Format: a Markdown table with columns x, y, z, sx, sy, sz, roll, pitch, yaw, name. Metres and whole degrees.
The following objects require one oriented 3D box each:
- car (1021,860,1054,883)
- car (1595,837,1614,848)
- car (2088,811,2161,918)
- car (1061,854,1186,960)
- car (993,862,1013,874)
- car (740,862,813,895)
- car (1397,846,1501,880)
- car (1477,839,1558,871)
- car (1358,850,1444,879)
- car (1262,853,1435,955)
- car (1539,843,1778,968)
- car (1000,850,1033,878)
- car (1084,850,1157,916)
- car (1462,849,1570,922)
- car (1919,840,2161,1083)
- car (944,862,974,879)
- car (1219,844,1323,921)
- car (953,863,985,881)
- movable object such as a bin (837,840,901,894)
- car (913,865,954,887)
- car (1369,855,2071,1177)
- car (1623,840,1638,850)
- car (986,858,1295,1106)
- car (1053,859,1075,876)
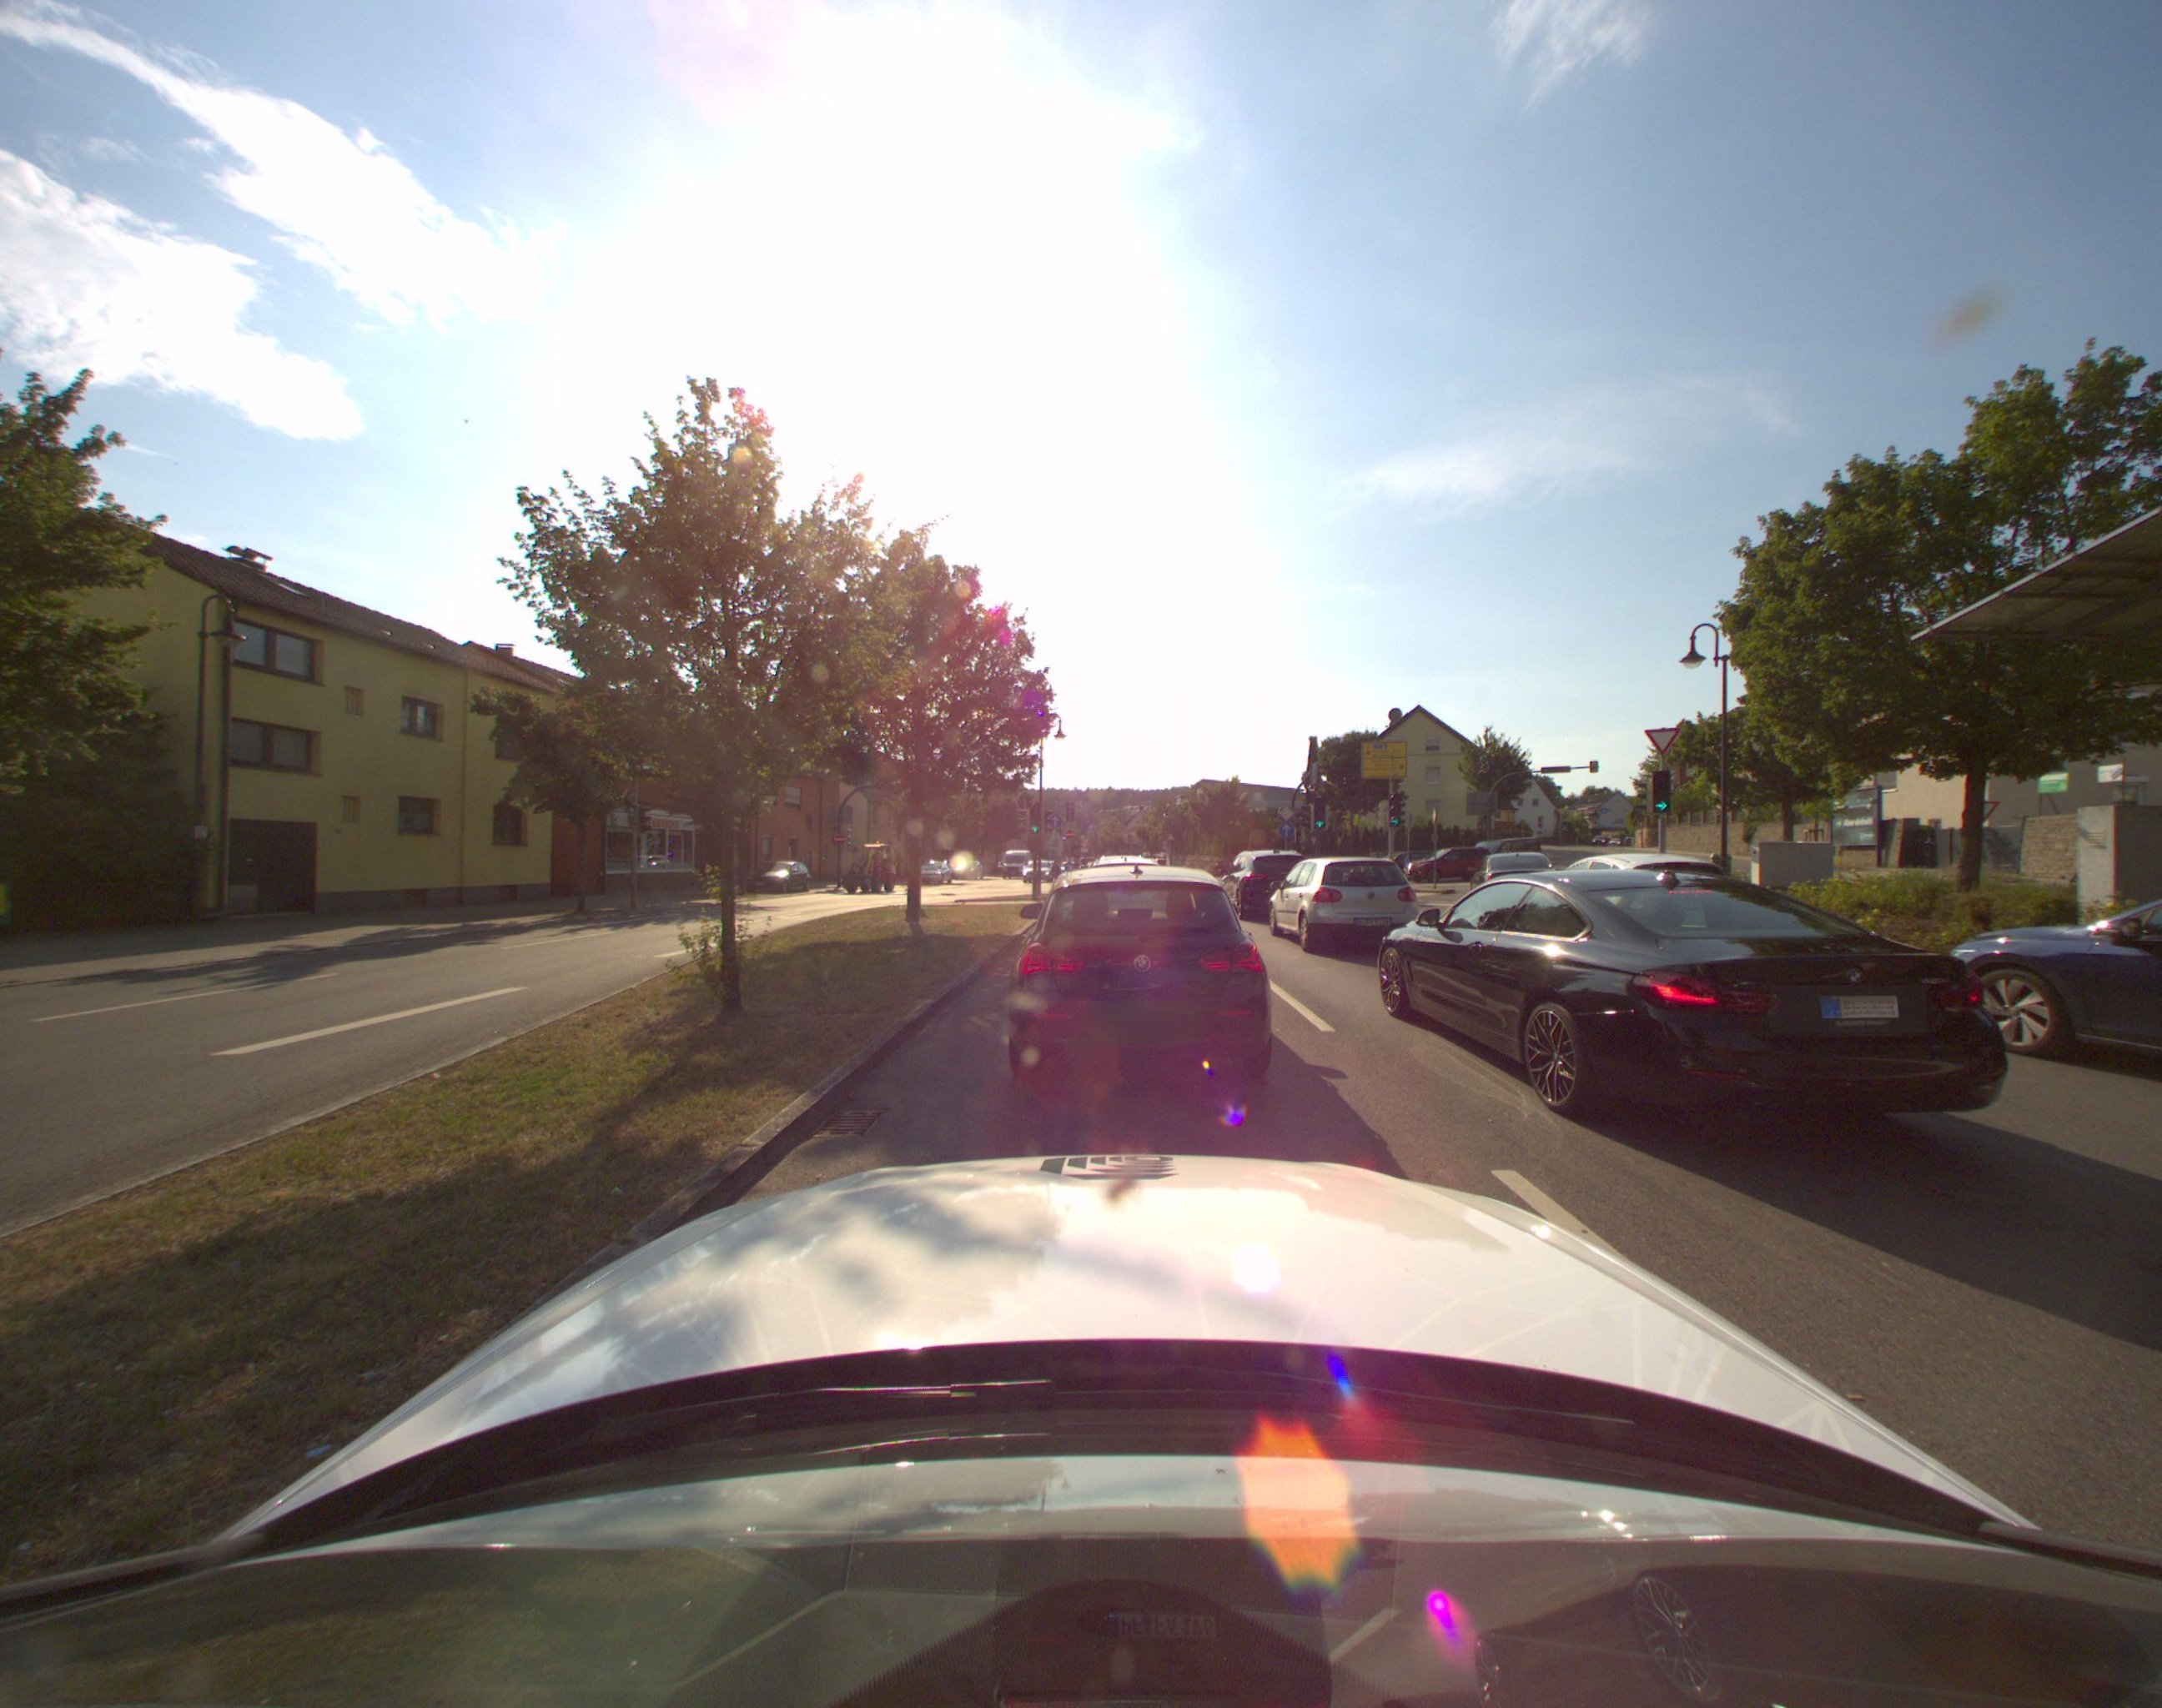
| x | y | z | sx | sy | sz | roll | pitch | yaw | name |
| --- | --- | --- | --- | --- | --- | --- | --- | --- | --- |
| -2.944 | 1.153 | 55.724 | 1.832 | 1.482 | 4.002 | -1 | 0 | 2 | car |
| 85.343 | -1.836 | 132.736 | 1.946 | 1.680 | 4.241 | -2 | 0 | 41 | car |
| 18.496 | 0.150 | 12.370 | 3.793 | 1.632 | 1.784 | 0 | 0 | 10 | car |
| 0.722 | 0.776 | 14.098 | 1.781 | 1.494 | 4.283 | -2 | 0 | 2 | car |
| -9.335 | 1.653 | 97.556 | 1.729 | 1.301 | 3.804 | 4 | 0 | 5 | car |
| -14.133 | 1.114 | 38.020 | 1.730 | 1.301 | 4.002 | 4 | 0 | 2 | car |
| 18.355 | 0.450 | 40.722 | 4.410 | 1.641 | 1.845 | 0 | 0 | -6 | car |
| 25.078 | 0.042 | 46.730 | 4.798 | 1.739 | 1.831 | 0 | 0 | -30 | car |
| 17.352 | 0.563 | 44.344 | 3.974 | 1.489 | 1.848 | 0 | 0 | -1 | car |
| 4.302 | 0.729 | 13.749 | 1.755 | 1.426 | 3.905 | -2 | 0 | 2 | car |
| 8.208 | 0.657 | 11.948 | 1.607 | 1.542 | 3.328 | -2 | 0 | 11 | car |
| -5.600 | 0.879 | 71.245 | 2.076 | 2.394 | 5.533 | 0 | -1 | 3 | car |
| 1.089 | 0.738 | 22.560 | 1.781 | 1.594 | 4.283 | -2 | 0 | 2 | car |
| 10.502 | 0.692 | 19.944 | 1.642 | 1.542 | 4.420 | -2 | 0 | 19 | car |
| 7.409 | 0.645 | 4.255 | 1.754 | 1.453 | 4.323 | -2 | 0 | 4 | car |
| -11.038 | 1.471 | 73.845 | 1.729 | 1.301 | 4.005 | 4 | 0 | 5 | car |
| 4.578 | 0.645 | 20.161 | 1.755 | 1.656 | 3.905 | -2 | 0 | 2 | car |
| -9.386 | 1.518 | 68.450 | 1.729 | 1.301 | 3.804 | 4 | 0 | 5 | car |
| -10.180 | 0.610 | 39.424 | 1.729 | 2.442 | 4.452 | -1 | 0 | 3 | movable object such as a bin |
| -9.879 | 1.463 | 54.885 | 1.729 | 1.301 | 3.804 | 4 | 0 | 5 | car |
| 3.622 | 0.735 | 5.809 | 1.755 | 1.397 | 4.283 | -2 | 0 | 2 | car |
| 95.324 | -1.555 | 141.326 | 1.945 | 1.680 | 4.242 | -2 | 0 | 36 | car |
| 0.444 | 0.769 | 6.954 | 1.781 | 1.397 | 4.283 | -2 | 0 | 2 | car |
| -1.555 | 1.235 | 75.836 | 1.832 | 1.482 | 4.002 | -1 | 0 | 2 | car |
